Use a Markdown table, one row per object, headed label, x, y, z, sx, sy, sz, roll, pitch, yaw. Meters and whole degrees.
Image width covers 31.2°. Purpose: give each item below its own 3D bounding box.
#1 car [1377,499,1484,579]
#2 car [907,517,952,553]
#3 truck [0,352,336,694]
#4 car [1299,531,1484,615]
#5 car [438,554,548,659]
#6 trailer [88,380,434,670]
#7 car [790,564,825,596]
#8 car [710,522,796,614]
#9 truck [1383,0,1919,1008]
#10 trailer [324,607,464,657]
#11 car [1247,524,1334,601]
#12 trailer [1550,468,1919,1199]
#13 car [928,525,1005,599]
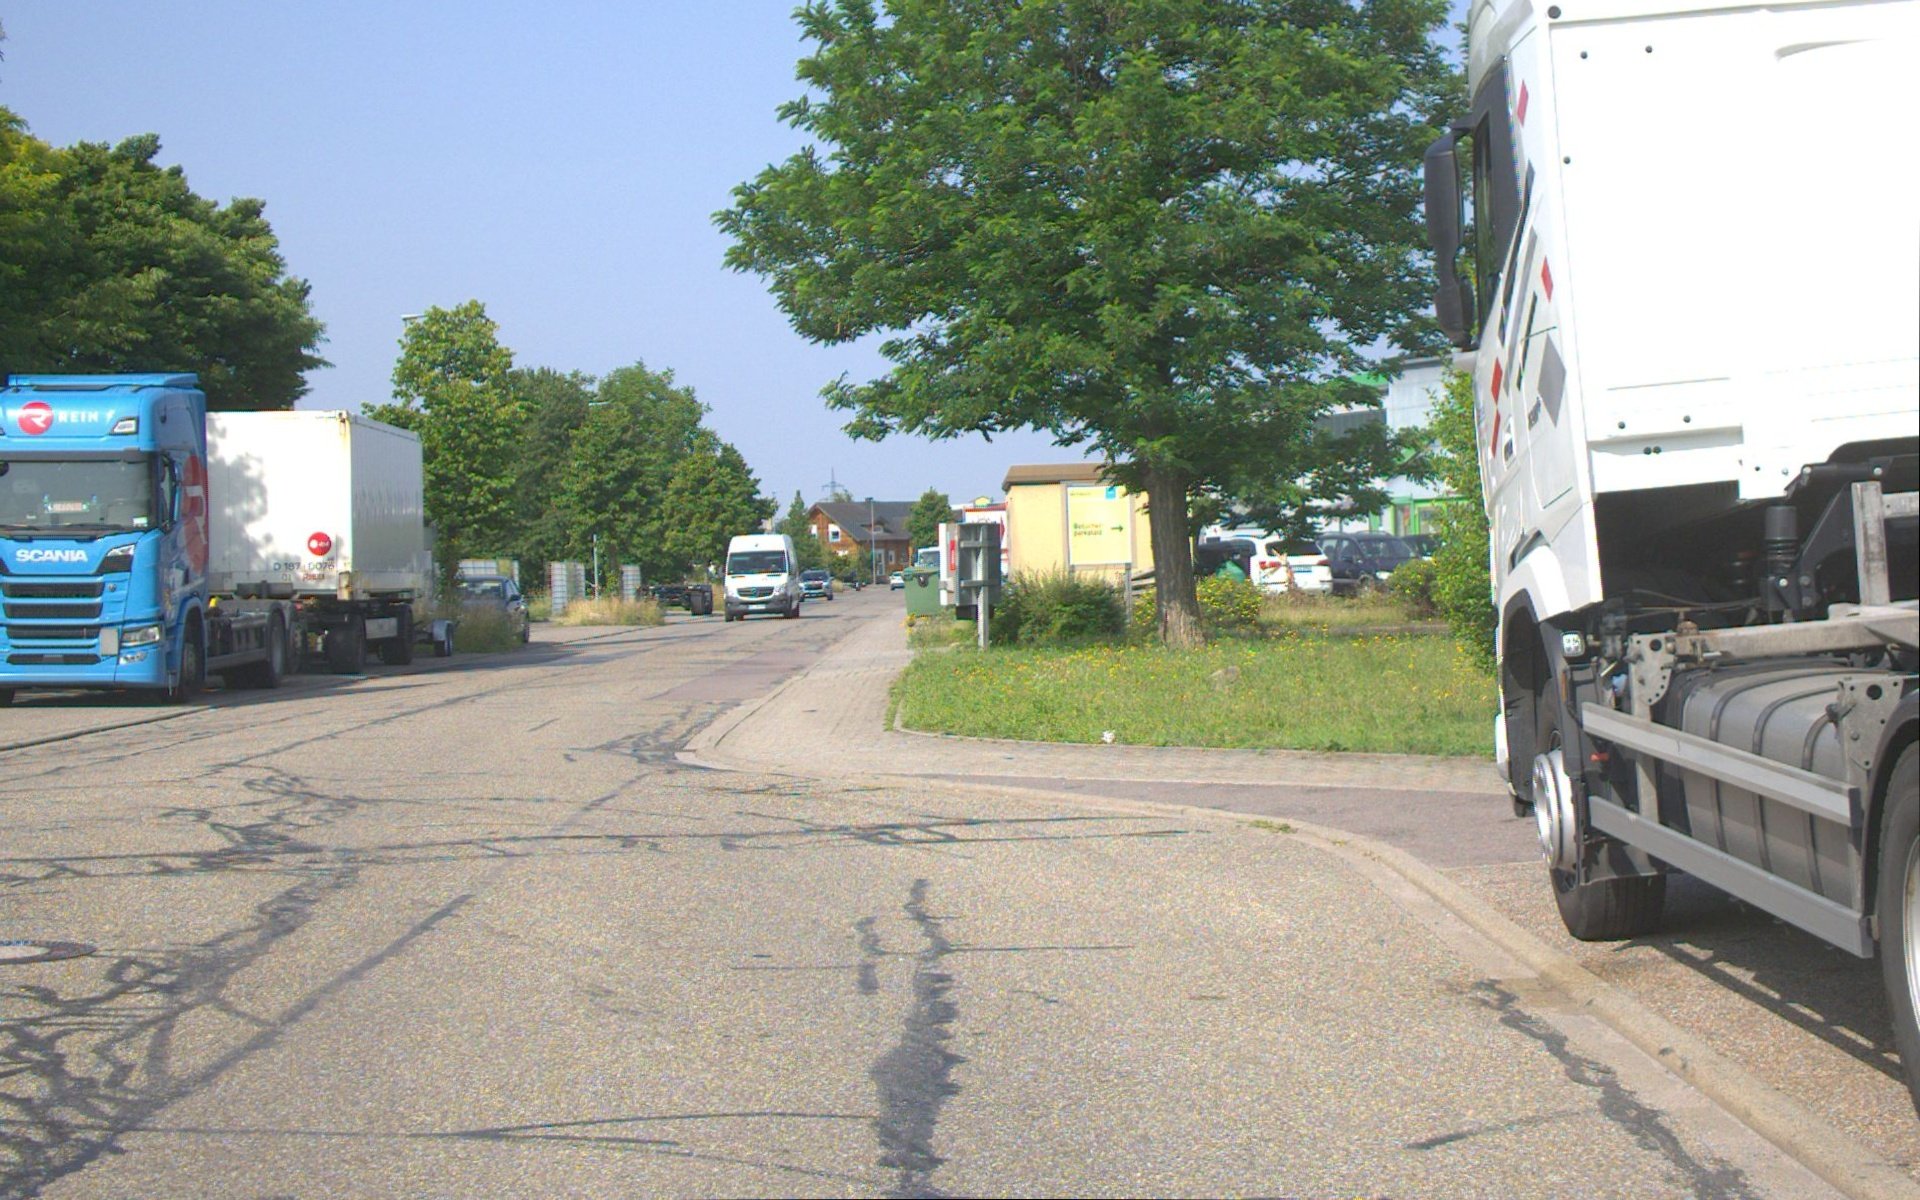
| label | x | y | z | sx | sy | sz | roll | pitch | yaw |
| --- | --- | --- | --- | --- | --- | --- | --- | --- | --- |
| car | 10.076 | -1.283 | 73.896 | 1.792 | 1.634 | 4.000 | 0 | 0 | 1 |
| car | -1.663 | -3.501 | 185.334 | 1.770 | 1.809 | 4.001 | 0 | 0 | -10 |
| truck | -10.103 | -0.836 | 43.259 | 2.825 | 3.813 | 9.673 | 0 | 0 | -1 |
| car | 6.980 | -0.418 | 55.972 | 1.667 | 1.325 | 3.664 | 0 | 0 | -16 |
| car | -9.436 | 0.108 | 69.203 | 1.993 | 2.007 | 4.001 | -2 | 1 | -10 |
| trailer | -10.186 | -0.965 | 51.568 | 2.831 | 3.830 | 12.036 | 0 | 0 | -1 |
| car | -8.206 | -1.052 | 184.563 | 1.639 | 1.656 | 4.001 | 0 | 0 | -6 |
| car | -6.278 | -0.922 | 103.666 | 2.214 | 2.677 | 6.854 | 0 | 0 | -6 |
| truck | 3.237 | -0.892 | 12.201 | 2.746 | 3.968 | 4.000 | -4 | 1 | 0 |
| trailer | -10.070 | 0.554 | 61.446 | 1.896 | 0.758 | 4.000 | -2 | 1 | -1 |
| car | 7.200 | -0.806 | 75.214 | 1.717 | 1.612 | 3.999 | 0 | 0 | 3 |
| trailer | 3.349 | 0.468 | 3.152 | 2.746 | 1.568 | 16.172 | -4 | 1 | 0 |
| car | 0.145 | -0.900 | 83.527 | 1.792 | 1.744 | 4.000 | 0 | 0 | -1 |
